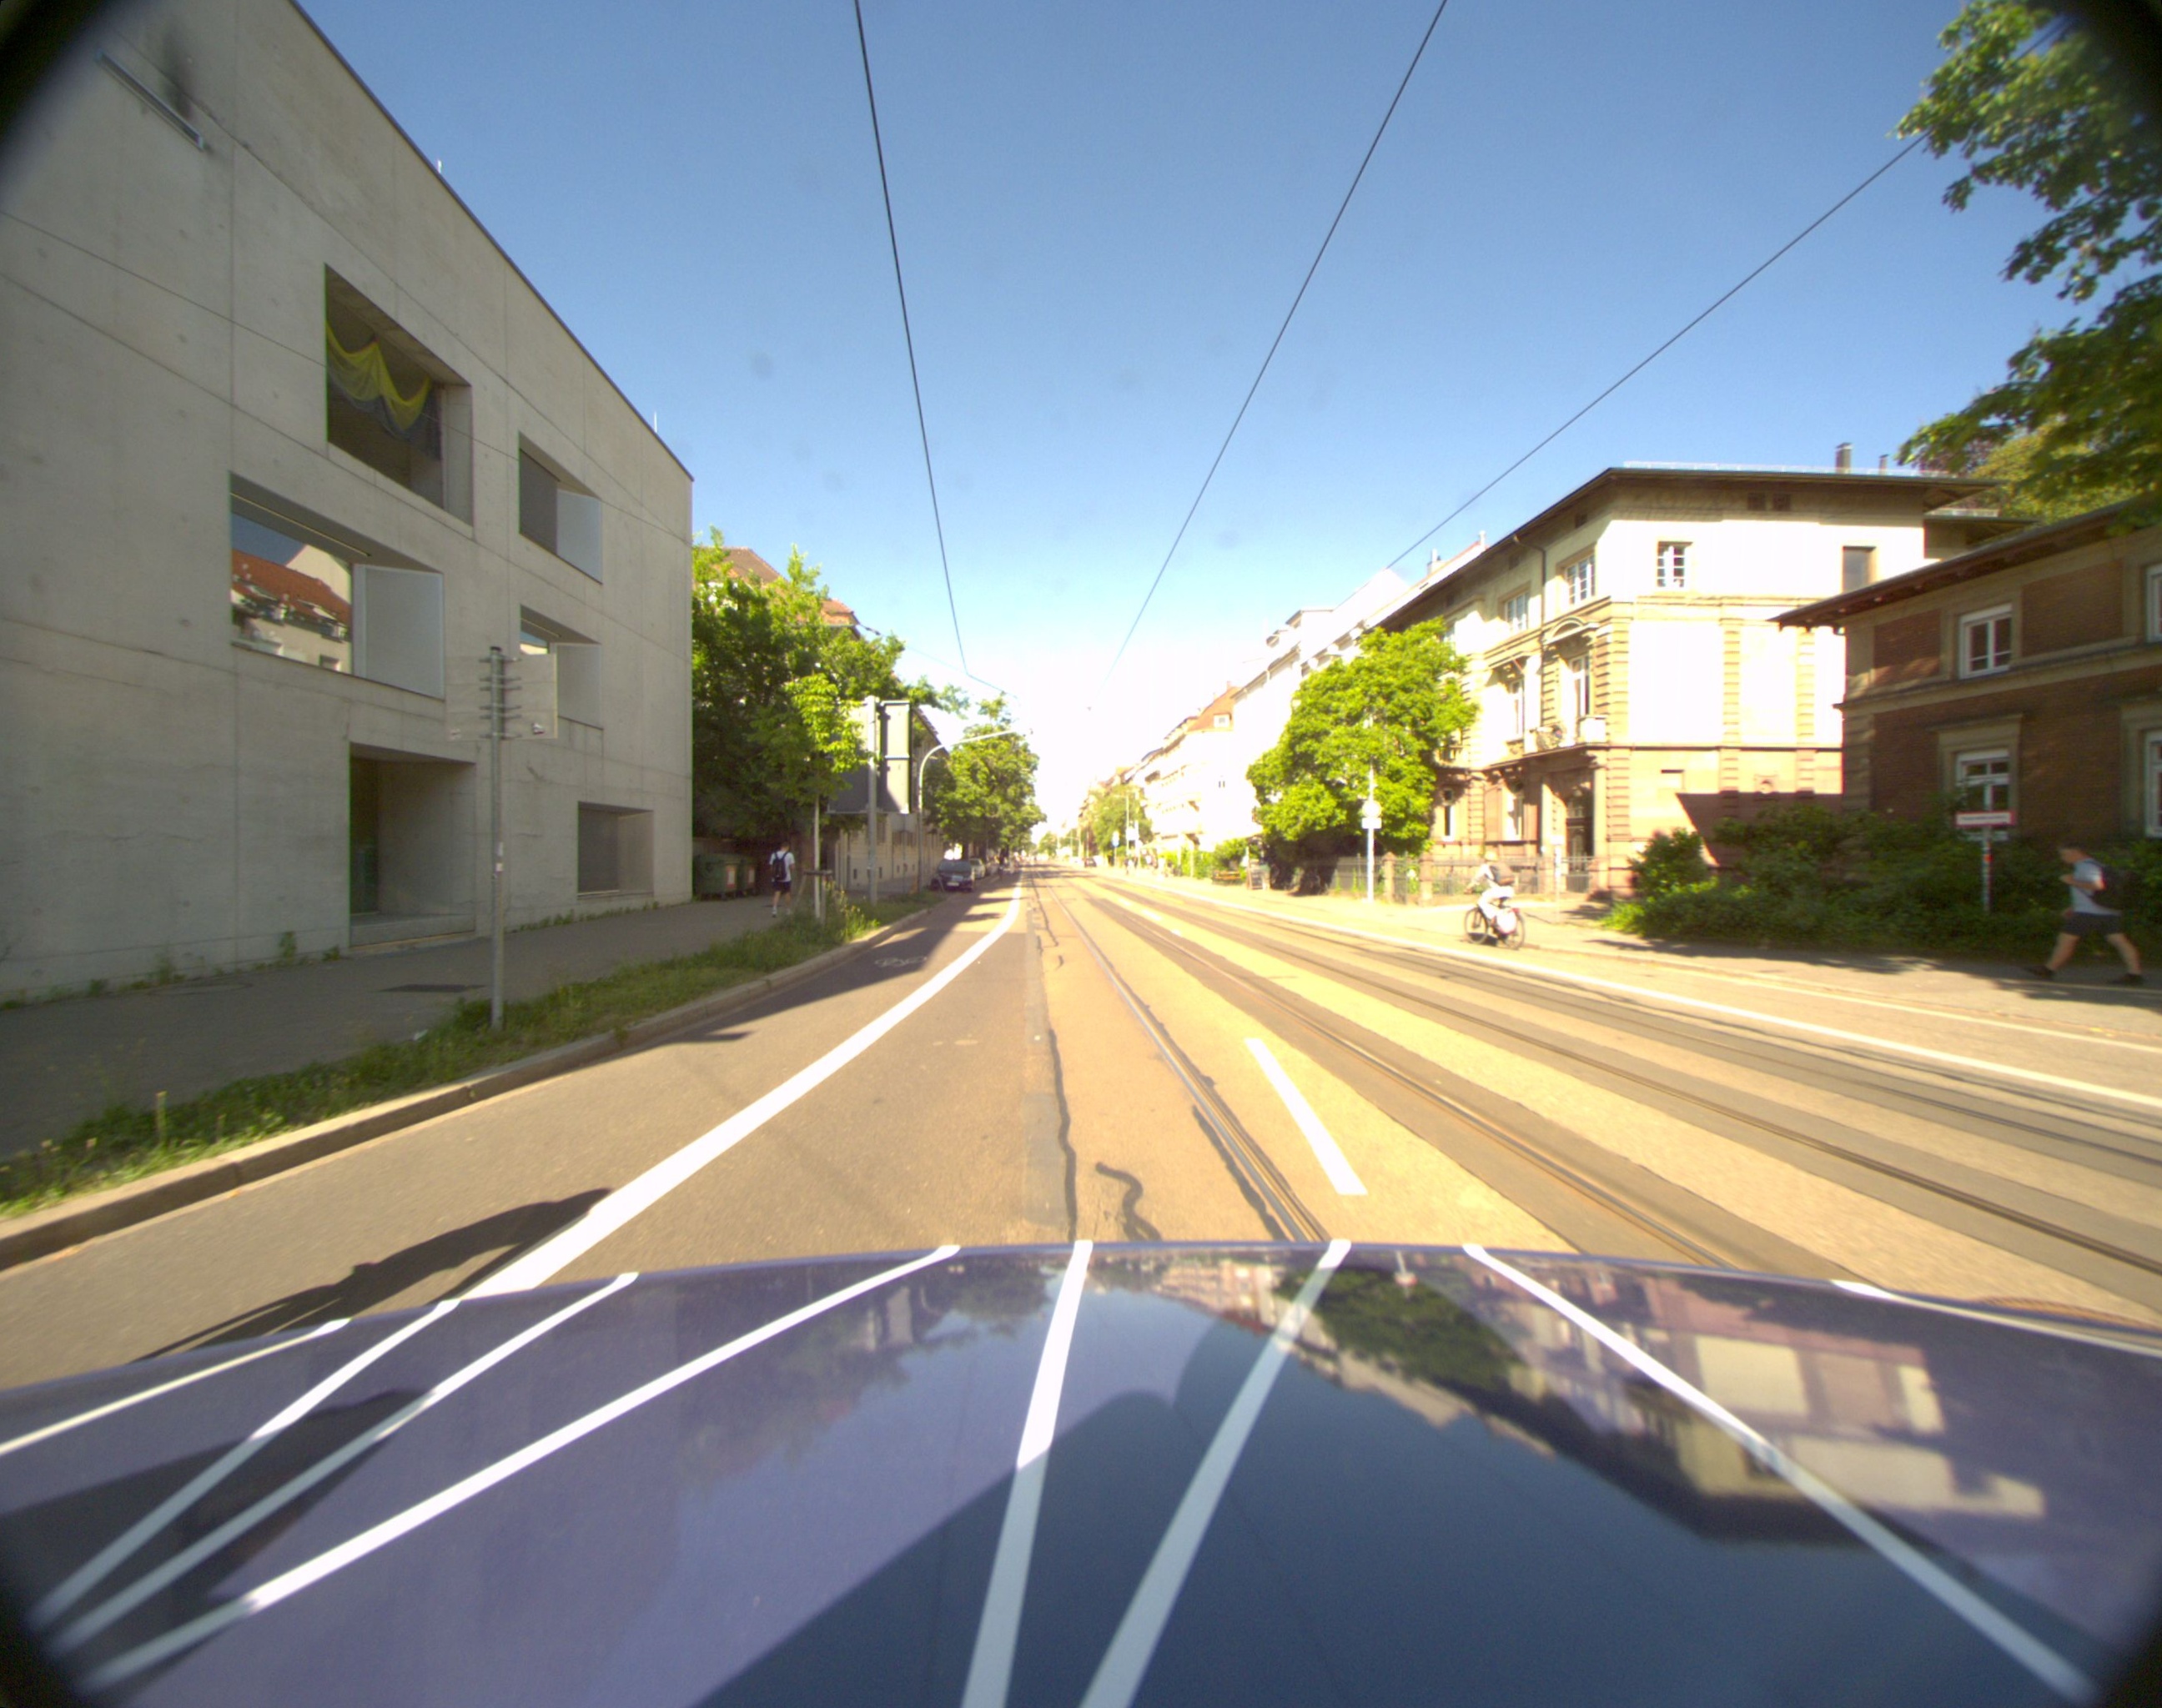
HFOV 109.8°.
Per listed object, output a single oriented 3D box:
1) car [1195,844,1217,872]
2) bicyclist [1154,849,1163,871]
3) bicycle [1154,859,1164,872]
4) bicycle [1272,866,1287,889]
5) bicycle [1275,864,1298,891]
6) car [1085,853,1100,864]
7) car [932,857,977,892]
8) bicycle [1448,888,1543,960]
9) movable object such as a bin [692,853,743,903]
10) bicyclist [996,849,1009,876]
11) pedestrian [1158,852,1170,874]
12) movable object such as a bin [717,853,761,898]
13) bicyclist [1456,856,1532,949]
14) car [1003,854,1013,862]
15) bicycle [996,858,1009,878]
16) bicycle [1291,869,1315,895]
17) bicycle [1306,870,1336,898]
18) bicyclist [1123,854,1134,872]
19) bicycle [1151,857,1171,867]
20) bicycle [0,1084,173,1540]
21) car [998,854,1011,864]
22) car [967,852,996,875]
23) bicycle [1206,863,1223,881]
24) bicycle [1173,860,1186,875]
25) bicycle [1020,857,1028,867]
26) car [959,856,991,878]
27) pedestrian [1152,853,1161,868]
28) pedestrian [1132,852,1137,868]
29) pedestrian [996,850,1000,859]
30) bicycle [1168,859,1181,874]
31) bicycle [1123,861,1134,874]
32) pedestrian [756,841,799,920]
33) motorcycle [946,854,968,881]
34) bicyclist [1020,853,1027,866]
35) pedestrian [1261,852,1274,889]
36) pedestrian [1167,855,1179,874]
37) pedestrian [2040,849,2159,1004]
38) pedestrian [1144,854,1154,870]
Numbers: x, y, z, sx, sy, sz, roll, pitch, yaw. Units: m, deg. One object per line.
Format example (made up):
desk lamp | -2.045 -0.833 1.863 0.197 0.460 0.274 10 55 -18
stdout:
car | 13.179 0.367 79.812 1.889 2.825 4.787 1 2 13
bicyclist | 6.816 0.508 66.463 0.706 1.843 0.986 1 2 9
bicycle | 6.812 1.013 66.474 0.706 1.049 1.836 1 2 9
bicycle | 9.617 1.148 36.861 0.637 1.039 2.024 0 0 13
bicycle | 9.570 1.082 35.422 0.647 1.137 1.905 -2 0 4
car | 1.667 0.613 113.330 1.870 1.567 4.586 2 0 -4
car | -5.853 0.891 35.646 1.827 1.450 4.815 2 0 -7
bicycle | 7.632 1.256 14.108 0.688 1.118 1.931 2 0 0
movable object such as a bin | -11.110 0.713 23.252 0.936 1.455 1.355 0 1 -2
bicyclist | -5.178 0.546 50.247 0.763 1.728 1.046 -1 1 -4
pedestrian | 6.558 0.716 59.932 0.757 1.704 0.808 -2 1 -3
movable object such as a bin | -11.308 0.700 25.144 0.936 1.455 1.331 0 1 -5
bicyclist | 7.647 0.863 14.122 0.688 1.635 1.237 2 1 0
car | -13.223 0.721 137.350 1.825 1.475 4.746 1 0 -6
bicycle | -5.172 0.918 50.274 0.763 1.235 2.095 -1 0 -4
bicycle | 9.648 1.211 33.045 0.591 1.039 1.905 -1 0 4
bicycle | 9.700 1.209 30.808 0.591 1.039 1.904 -2 0 0
bicyclist | 4.197 0.776 66.656 0.747 1.590 1.117 3 1 -3
bicycle | 9.083 0.916 86.131 2.244 1.038 0.876 0 2 6
bicycle | -3.212 1.276 1.321 0.740 1.088 2.110 -1 0 -2
car | -11.948 0.728 118.995 1.706 1.463 4.212 1 0 -3
car | -7.831 0.726 60.087 1.816 1.616 4.582 2 0 -3
bicycle | 8.373 1.148 47.794 0.640 1.053 1.742 -2 0 -3
bicycle | 7.742 1.044 59.660 0.663 1.083 1.839 -3 1 -3
bicycle | -6.400 0.911 84.728 0.776 1.080 2.057 0 0 -6
car | -7.264 0.839 52.281 1.728 1.374 4.354 2 0 -2
pedestrian | 8.318 0.710 83.925 0.705 1.645 0.834 1 2 28
pedestrian | 6.069 0.691 86.263 0.558 1.771 0.538 0 1 -7
pedestrian | -18.991 0.193 174.288 0.744 2.002 0.687 0 1 -12
bicycle | 7.566 1.009 61.631 0.663 1.083 1.839 -3 1 -3
bicycle | 4.176 1.167 66.659 0.747 1.075 1.898 3 0 -3
pedestrian | -7.291 0.631 18.290 0.686 1.839 0.955 2 1 -5
motorcycle | -7.158 0.736 44.047 0.916 1.480 2.678 2 0 -2
bicyclist | -6.398 0.614 84.730 0.776 1.505 1.229 0 0 -6
pedestrian | 9.039 0.793 36.880 0.576 1.821 0.690 0 1 15
pedestrian | 7.311 0.841 60.319 0.757 1.469 0.956 -2 1 -3
pedestrian | 12.585 0.855 9.396 0.733 1.786 0.778 -3 1 -30
pedestrian | 7.468 0.843 83.168 0.691 1.758 0.868 1 1 41
